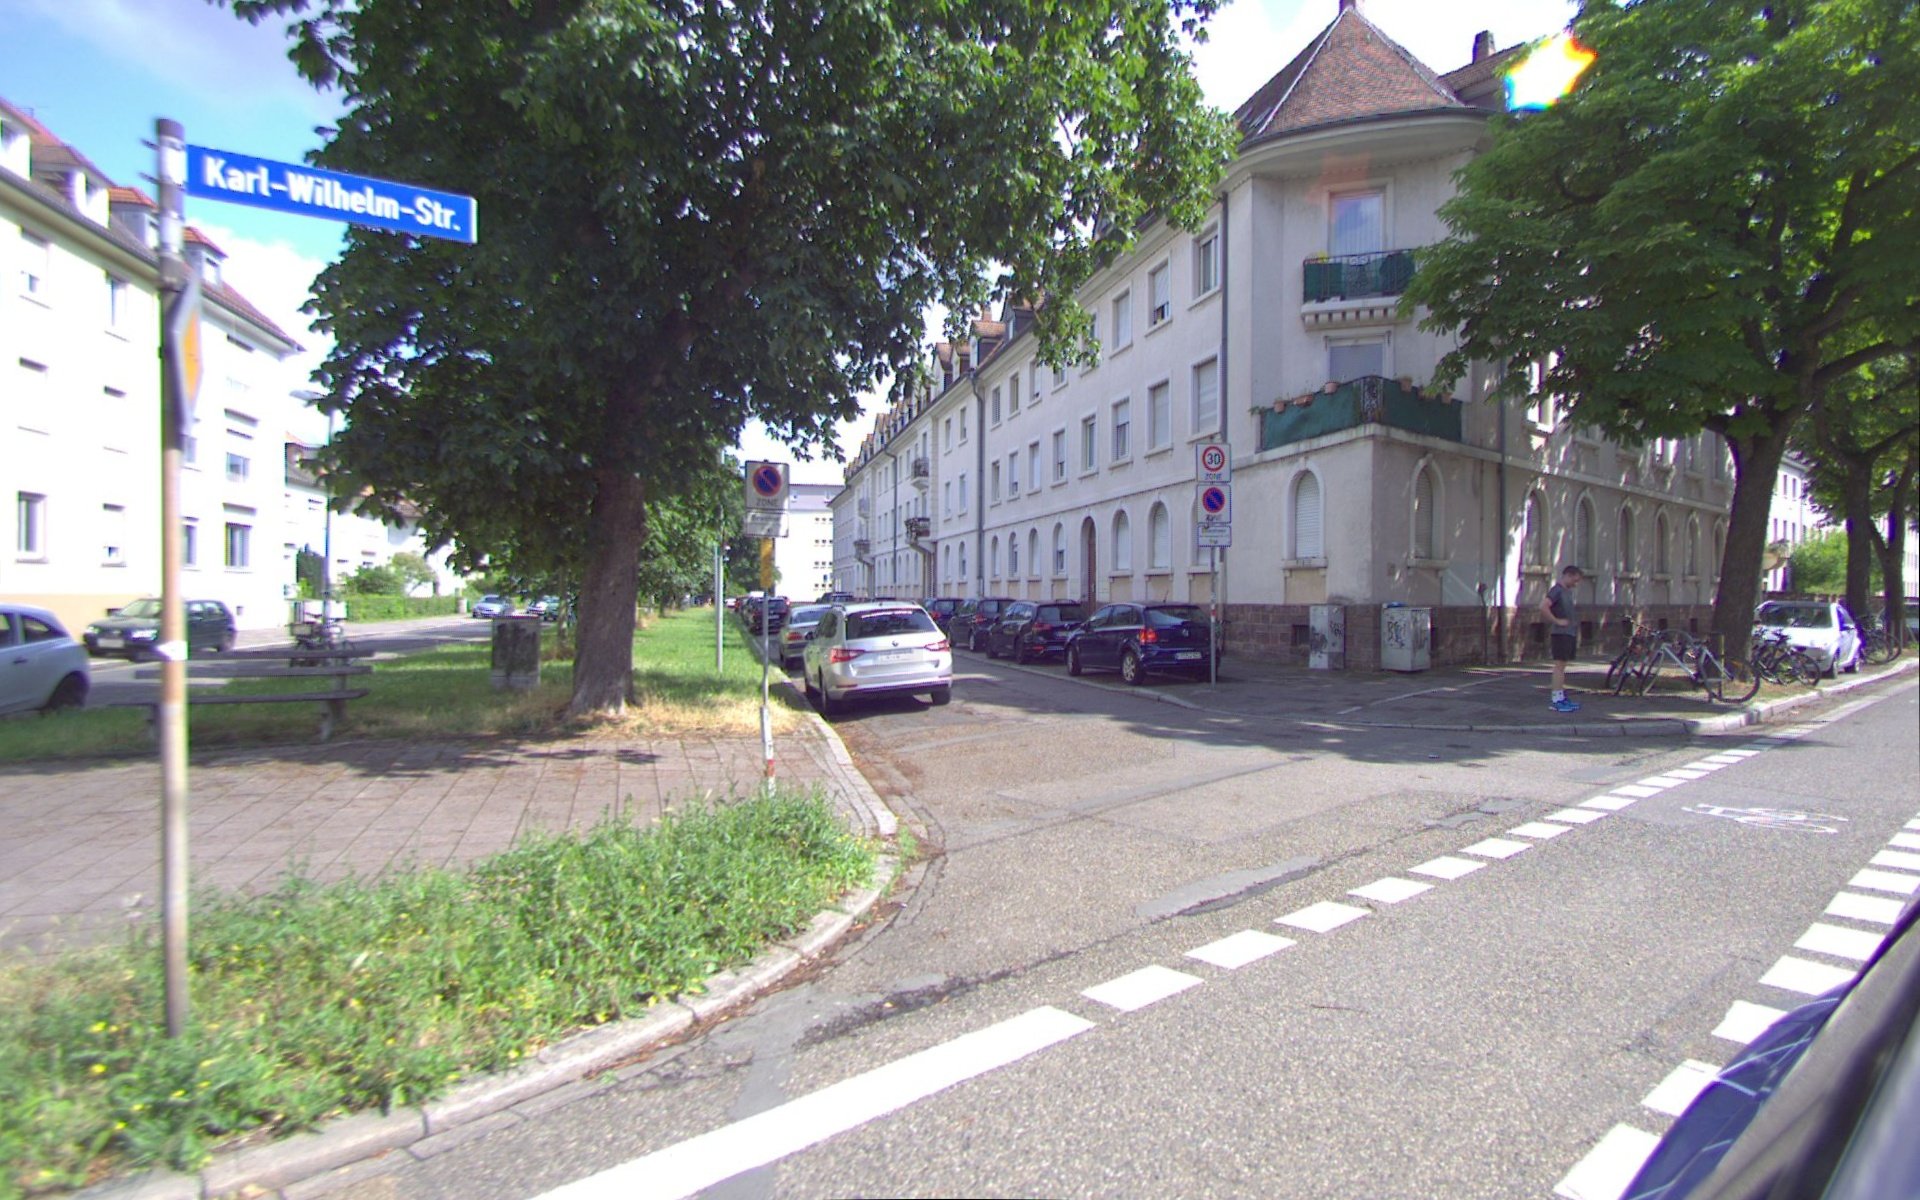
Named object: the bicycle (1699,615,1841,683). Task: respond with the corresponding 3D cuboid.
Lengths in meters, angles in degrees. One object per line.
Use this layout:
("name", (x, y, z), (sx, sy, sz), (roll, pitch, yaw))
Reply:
("bicycle", (14.154, 0.829, 17.734), (0.395, 1.085, 1.907), (0, 0, -39))

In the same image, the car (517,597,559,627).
("car", (-23.725, 0.642, 56.998), (1.676, 1.576, 3.879), (0, 0, -15))

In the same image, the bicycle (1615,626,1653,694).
("bicycle", (10.097, 0.873, 15.142), (0.258, 0.911, 1.746), (1, 1, 41))

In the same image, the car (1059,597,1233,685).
("car", (3.286, 0.665, 18.563), (1.673, 1.424, 3.572), (-1, 0, -17))

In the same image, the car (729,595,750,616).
("car", (-20.820, 0.518, 95.430), (1.676, 1.891, 3.751), (0, 0, -15))

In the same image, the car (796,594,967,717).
("car", (-1.336, 0.680, 15.041), (1.830, 1.494, 4.583), (-1, 0, -13))

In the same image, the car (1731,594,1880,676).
("car", (17.147, 0.634, 20.475), (3.699, 1.448, 1.670), (0, 2, -40))

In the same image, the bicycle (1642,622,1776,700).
("bicycle", (10.524, 0.830, 14.262), (0.254, 0.995, 1.495), (0, 1, -38))

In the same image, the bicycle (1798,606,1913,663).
("bicycle", (20.469, 0.770, 23.171), (0.503, 1.190, 1.903), (0, 1, -28))

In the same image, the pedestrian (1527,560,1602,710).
("pedestrian", (7.830, 0.420, 13.095), (0.864, 1.858, 0.611), (-2, 2, -43))

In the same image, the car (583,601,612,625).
("car", (-25.460, 0.906, 71.185), (1.676, 1.576, 3.879), (0, 0, -15))

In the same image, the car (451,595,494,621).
("car", (-29.666, 0.467, 61.703), (1.676, 1.576, 3.879), (0, 0, -16))

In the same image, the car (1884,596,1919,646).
("car", (29.948, 0.629, 31.214), (4.322, 1.427, 1.848), (0, 2, -44))

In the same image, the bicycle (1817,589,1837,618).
("bicycle", (37.095, 0.129, 43.300), (1.673, 1.227, 0.413), (0, 0, -40))

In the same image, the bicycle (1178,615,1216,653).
("bicycle", (5.426, 0.764, 23.234), (0.315, 0.833, 1.356), (0, 0, -12))

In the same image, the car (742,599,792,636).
("car", (-7.893, 0.679, 41.191), (1.676, 1.417, 3.751), (0, 0, -15))

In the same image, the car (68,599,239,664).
("car", (-19.636, 0.725, 24.854), (1.663, 1.371, 3.876), (4, -1, -12))

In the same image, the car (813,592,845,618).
("car", (-8.969, 0.322, 69.140), (1.676, 1.665, 3.751), (0, 0, -15))

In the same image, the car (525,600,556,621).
("car", (-31.785, 0.761, 76.753), (1.676, 1.576, 3.879), (0, 0, -16))

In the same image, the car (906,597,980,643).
("car", (-0.662, 0.649, 35.003), (1.676, 1.499, 3.751), (0, 0, -15))

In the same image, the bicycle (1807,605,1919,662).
("bicycle", (20.928, 0.746, 23.454), (0.503, 1.190, 1.946), (0, 1, -28))

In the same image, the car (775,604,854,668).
("car", (-3.645, 0.818, 24.937), (1.553, 1.397, 3.829), (-1, 0, -13))

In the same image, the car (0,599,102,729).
("car", (-11.328, 0.727, 10.787), (1.618, 1.428, 4.007), (-1, 1, -12))

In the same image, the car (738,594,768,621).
("car", (-13.424, 0.474, 65.422), (1.676, 1.665, 3.751), (0, 0, -15))

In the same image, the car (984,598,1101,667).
("car", (1.858, 0.698, 23.904), (1.628, 1.442, 3.726), (-1, 0, -14))

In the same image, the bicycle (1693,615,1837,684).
("bicycle", (13.848, 0.824, 17.461), (0.395, 1.085, 1.907), (0, 0, -39))

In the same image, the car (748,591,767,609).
("car", (-22.347, 0.012, 111.538), (1.812, 1.920, 3.751), (0, 0, -15))

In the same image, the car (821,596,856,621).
("car", (-7.696, 0.514, 63.830), (1.676, 1.529, 3.751), (0, 0, -15))

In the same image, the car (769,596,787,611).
("car", (-20.241, 0.391, 112.474), (1.676, 1.567, 3.751), (0, 0, -15))

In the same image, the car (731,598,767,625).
("car", (-11.350, 0.582, 54.315), (1.676, 1.417, 3.751), (0, 0, -15))

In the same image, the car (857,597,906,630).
("car", (-3.818, 0.635, 48.983), (1.676, 1.499, 3.751), (0, 0, -15))
